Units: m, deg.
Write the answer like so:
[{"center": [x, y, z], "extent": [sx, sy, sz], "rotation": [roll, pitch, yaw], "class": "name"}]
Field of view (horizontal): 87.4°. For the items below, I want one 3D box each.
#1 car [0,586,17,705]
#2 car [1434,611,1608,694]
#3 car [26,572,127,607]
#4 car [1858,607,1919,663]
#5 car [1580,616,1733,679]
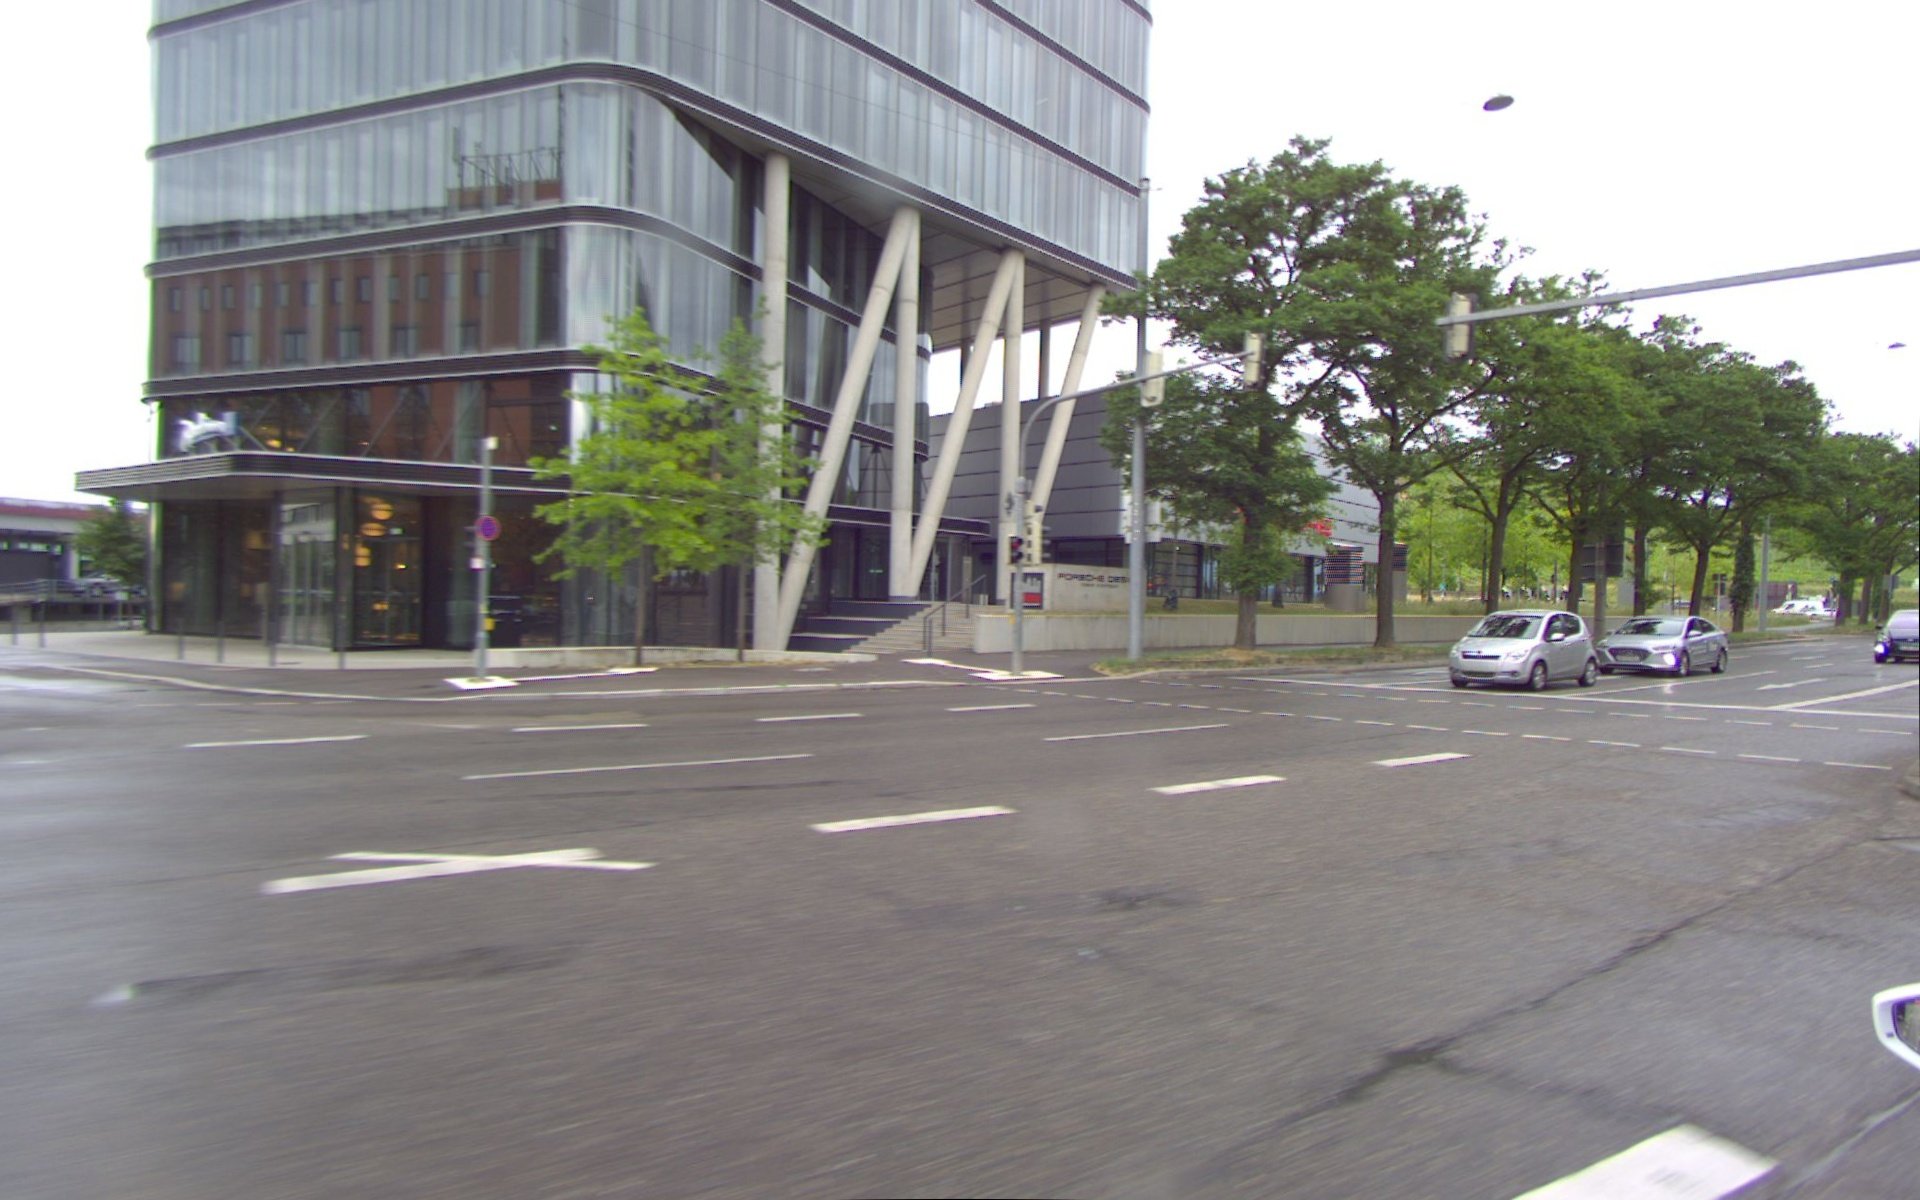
[{"center": [-13.123, 0.566, 11.802], "extent": [1.754, 1.617, 4.170], "rotation": [2, -2, -26], "class": "car"}, {"center": [11.465, 1.002, 20.457], "extent": [3.782, 1.540, 1.737], "rotation": [1, -1, -37], "class": "car"}, {"center": [-50.951, -0.562, 58.003], "extent": [1.765, 1.874, 4.000], "rotation": [1, -1, 21], "class": "car"}, {"center": [29.806, 1.047, 31.210], "extent": [5.074, 1.637, 1.978], "rotation": [0, -1, -38], "class": "car"}, {"center": [17.381, 1.122, 24.988], "extent": [4.612, 1.430, 1.801], "rotation": [1, -1, -37], "class": "car"}]
